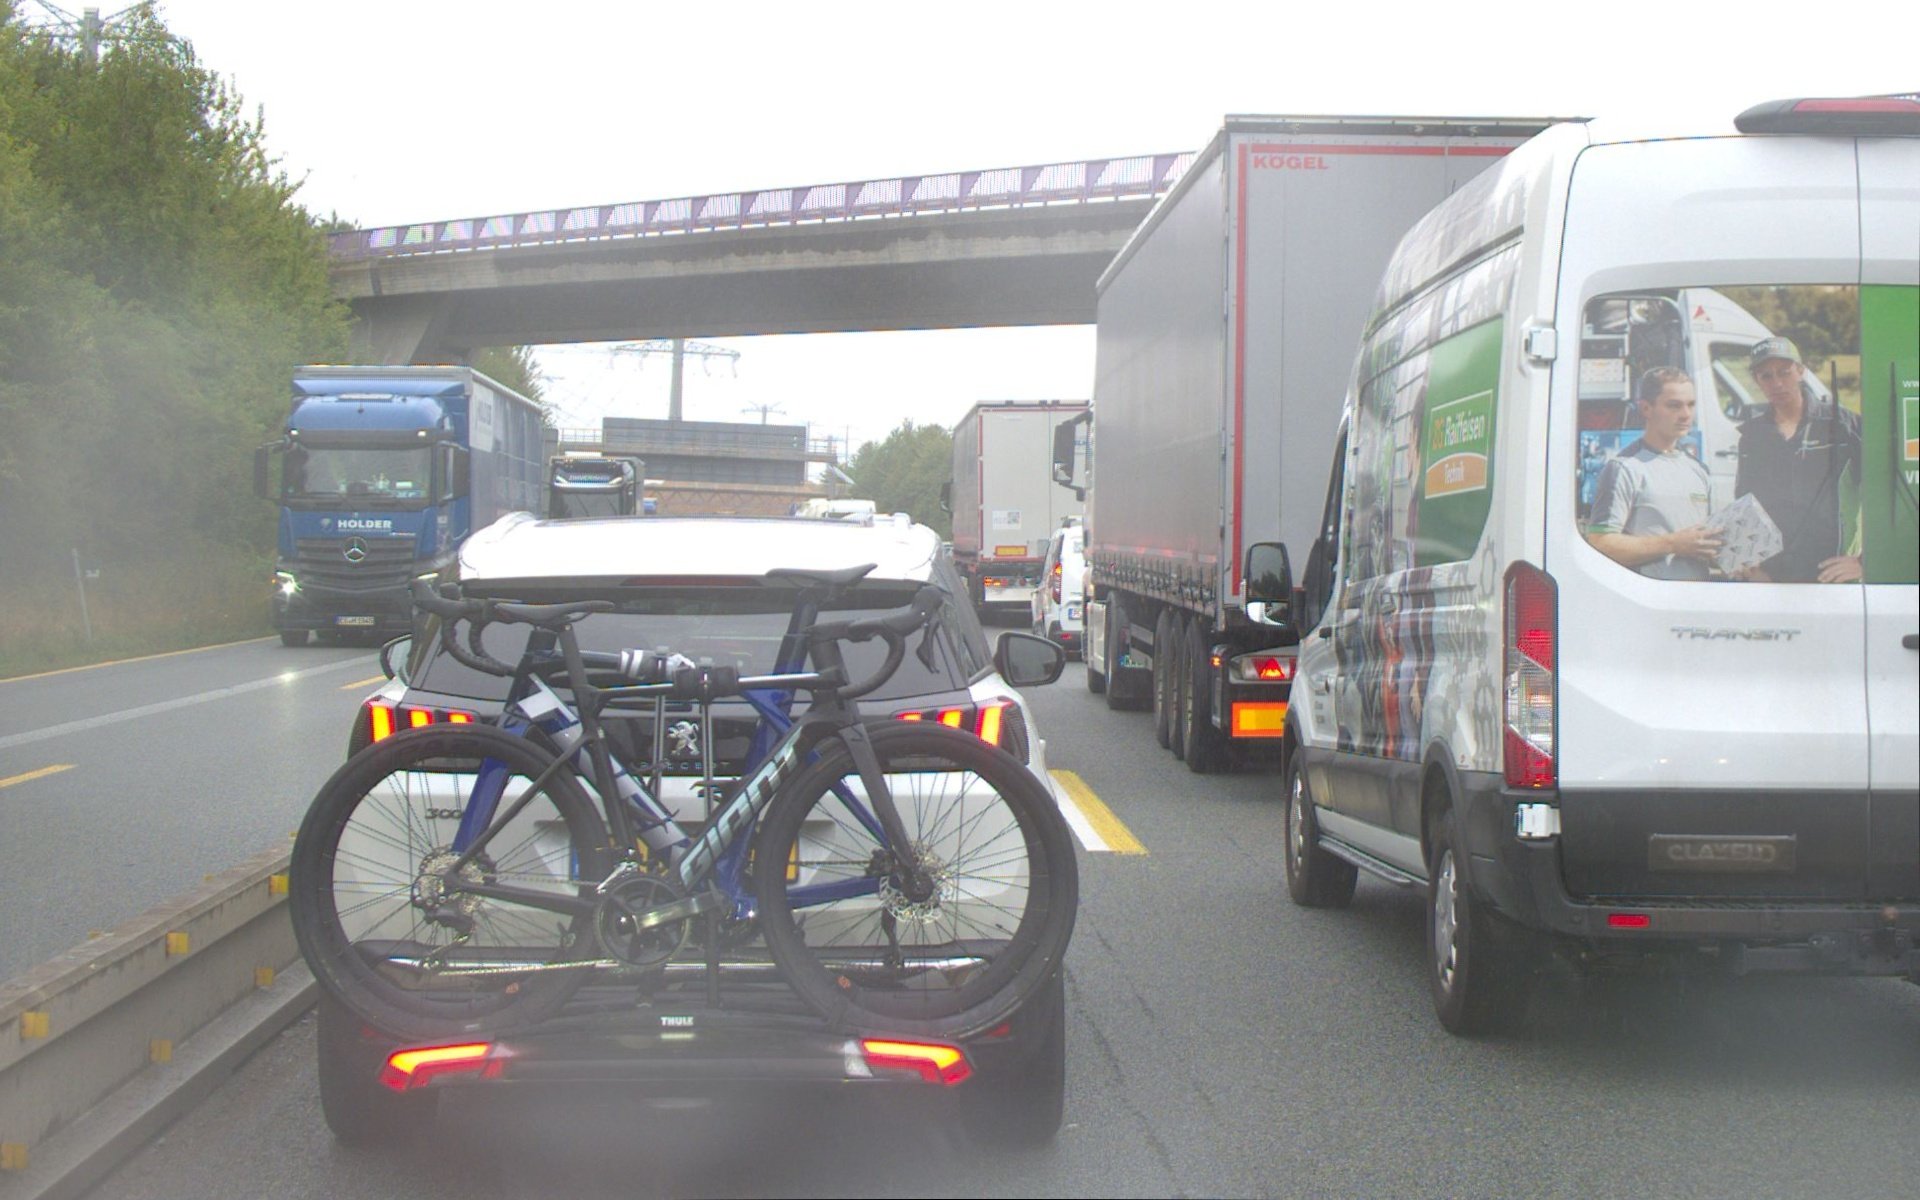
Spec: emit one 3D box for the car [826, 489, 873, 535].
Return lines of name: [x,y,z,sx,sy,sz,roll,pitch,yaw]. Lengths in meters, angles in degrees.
car: [-5.621,-4.472,175.382,2.239,2.299,4.572,1,1,0]

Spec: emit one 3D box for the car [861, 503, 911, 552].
car: [-3.130,-3.036,144.280,1.993,2.007,4.000,1,1,-2]

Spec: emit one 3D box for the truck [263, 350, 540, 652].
truck: [-8.685,-1.443,55.585,2.765,4.109,16.930,1,1,-4]

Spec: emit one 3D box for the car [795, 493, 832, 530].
car: [-8.748,-5.307,205.529,1.993,2.119,4.527,1,1,0]

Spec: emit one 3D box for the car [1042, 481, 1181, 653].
car: [1.981,-0.442,45.847,1.670,2.173,4.535,1,1,1]

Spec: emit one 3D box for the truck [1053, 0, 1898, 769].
truck: [3.181,-2.008,29.494,3.979,5.654,20.377,1,1,0]

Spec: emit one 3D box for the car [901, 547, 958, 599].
car: [-0.910,-0.813,101.898,1.638,1.492,3.666,1,1,0]

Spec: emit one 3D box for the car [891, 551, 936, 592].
car: [-1.720,-1.076,127.756,1.638,1.492,3.666,1,1,0]

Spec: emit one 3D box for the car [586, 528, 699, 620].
car: [-5.778,-0.485,62.903,1.783,1.604,4.104,1,1,-2]

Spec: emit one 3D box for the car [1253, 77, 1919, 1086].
car: [2.391,-0.076,12.193,2.144,2.667,6.117,1,1,0]

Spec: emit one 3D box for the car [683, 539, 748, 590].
car: [-7.442,-1.083,104.783,1.938,1.489,4.001,1,1,-4]

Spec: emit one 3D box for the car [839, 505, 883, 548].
car: [-4.685,-3.469,162.929,1.993,2.007,4.000,1,1,0]

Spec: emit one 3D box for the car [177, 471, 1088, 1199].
car: [-0.638,0.544,9.200,1.810,1.632,4.635,1,1,1]

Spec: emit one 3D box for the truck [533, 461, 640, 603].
truck: [-11.346,-2.025,105.098,2.464,4.109,10.089,1,1,-2]

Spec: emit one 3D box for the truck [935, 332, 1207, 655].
truck: [2.053,-1.981,70.915,4.743,5.654,20.376,1,1,1]
